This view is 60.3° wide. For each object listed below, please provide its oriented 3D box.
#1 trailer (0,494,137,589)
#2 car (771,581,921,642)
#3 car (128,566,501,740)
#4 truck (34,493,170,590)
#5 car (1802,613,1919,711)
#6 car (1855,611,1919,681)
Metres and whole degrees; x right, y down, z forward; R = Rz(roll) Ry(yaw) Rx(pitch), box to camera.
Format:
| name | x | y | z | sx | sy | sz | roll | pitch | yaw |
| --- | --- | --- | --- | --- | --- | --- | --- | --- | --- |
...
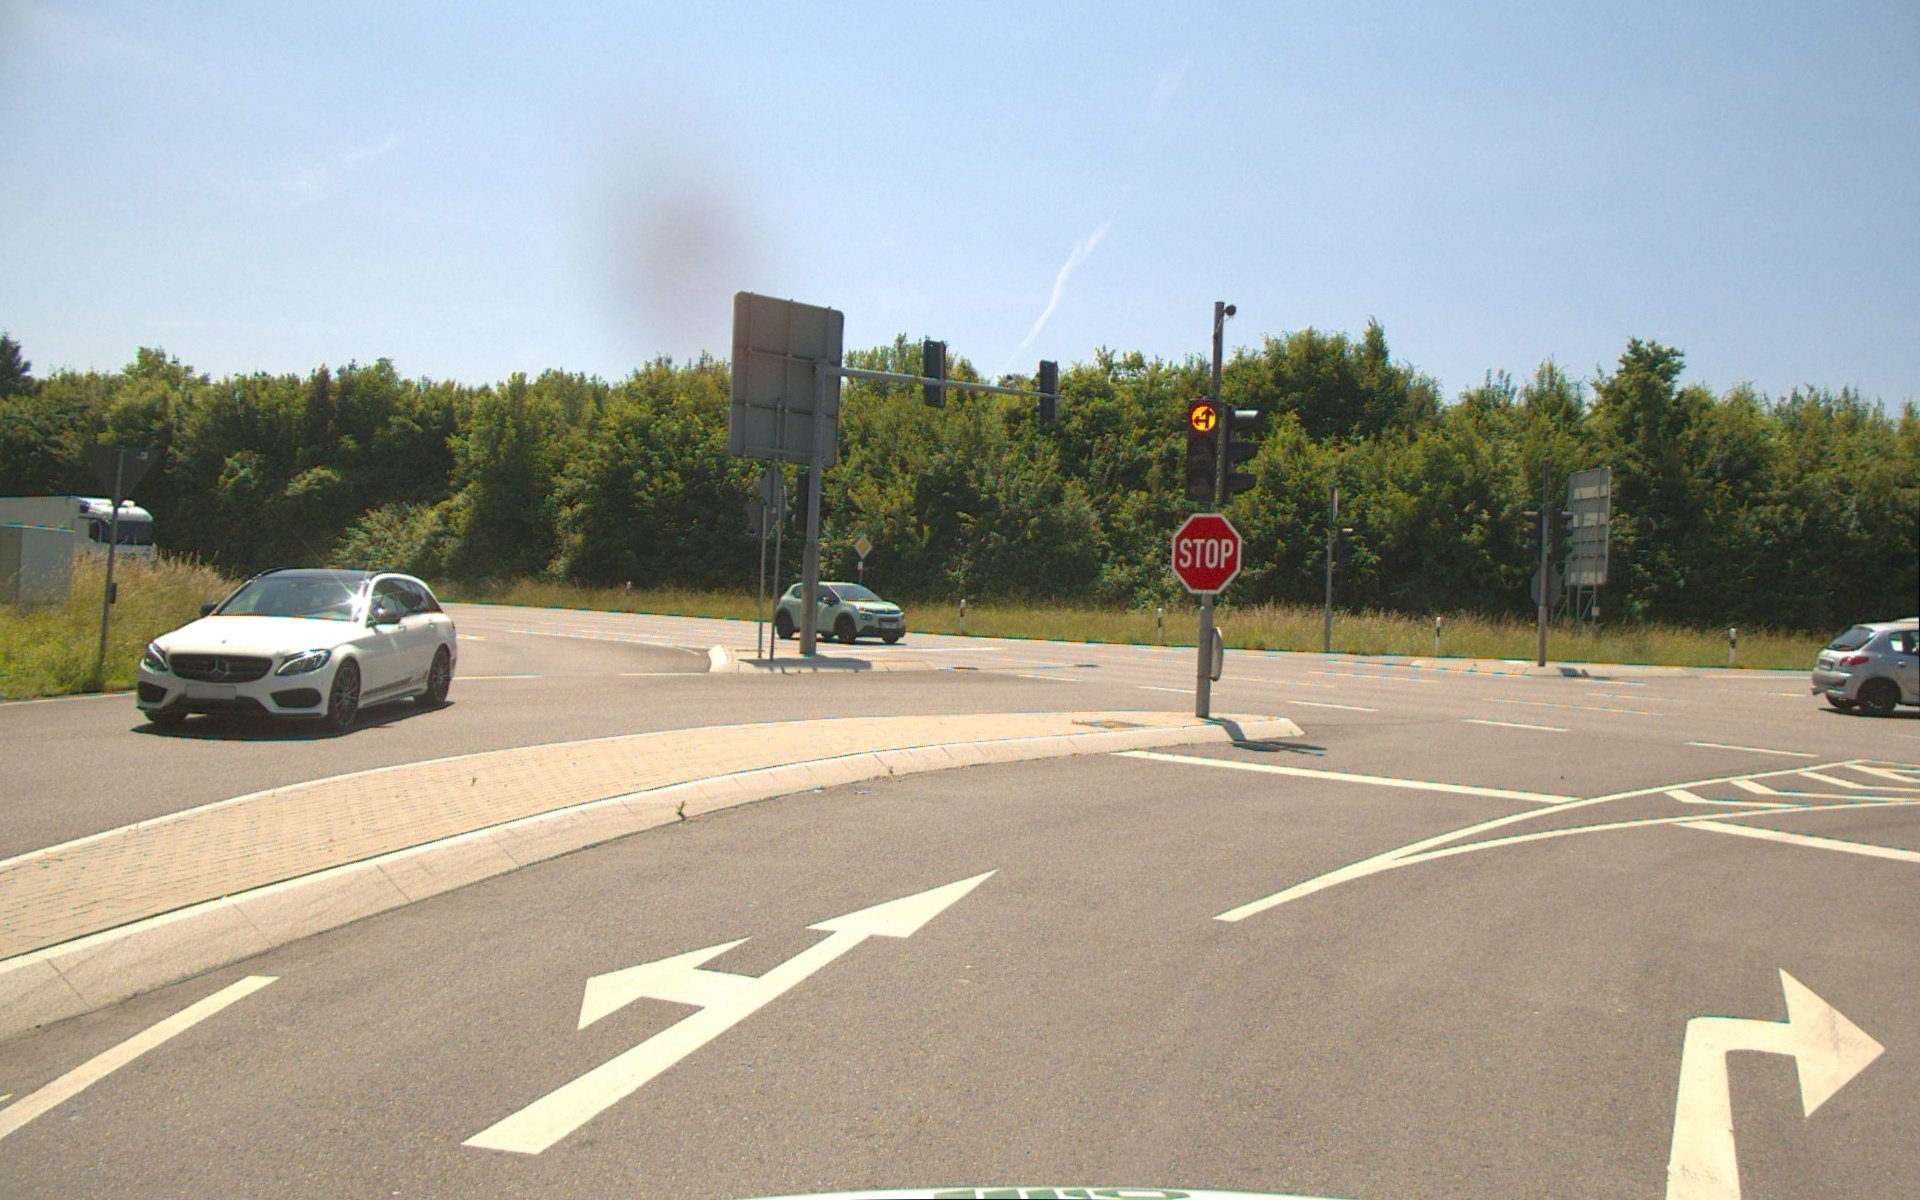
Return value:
| name | x | y | z | sx | sy | sz | roll | pitch | yaw |
| --- | --- | --- | --- | --- | --- | --- | --- | --- | --- |
| trailer | -42.958 | -2.767 | 76.255 | 13.553 | 4.106 | 2.653 | 2 | 1 | 34 |
| car | -2.971 | 0.264 | 42.491 | 1.722 | 1.428 | 3.921 | 0 | 2 | -45 |
| car | -6.421 | 0.436 | 17.218 | 1.768 | 1.437 | 5.334 | 3 | 1 | -1 |
| truck | -37.719 | -2.559 | 72.661 | 6.152 | 4.106 | 2.653 | 2 | 1 | 34 |
| car | 15.638 | 0.993 | 26.215 | 3.690 | 1.438 | 1.820 | 1 | 1 | 11 |
| car | 21.106 | 0.978 | 35.525 | 3.475 | 1.394 | 1.558 | 1 | 1 | -26 |
